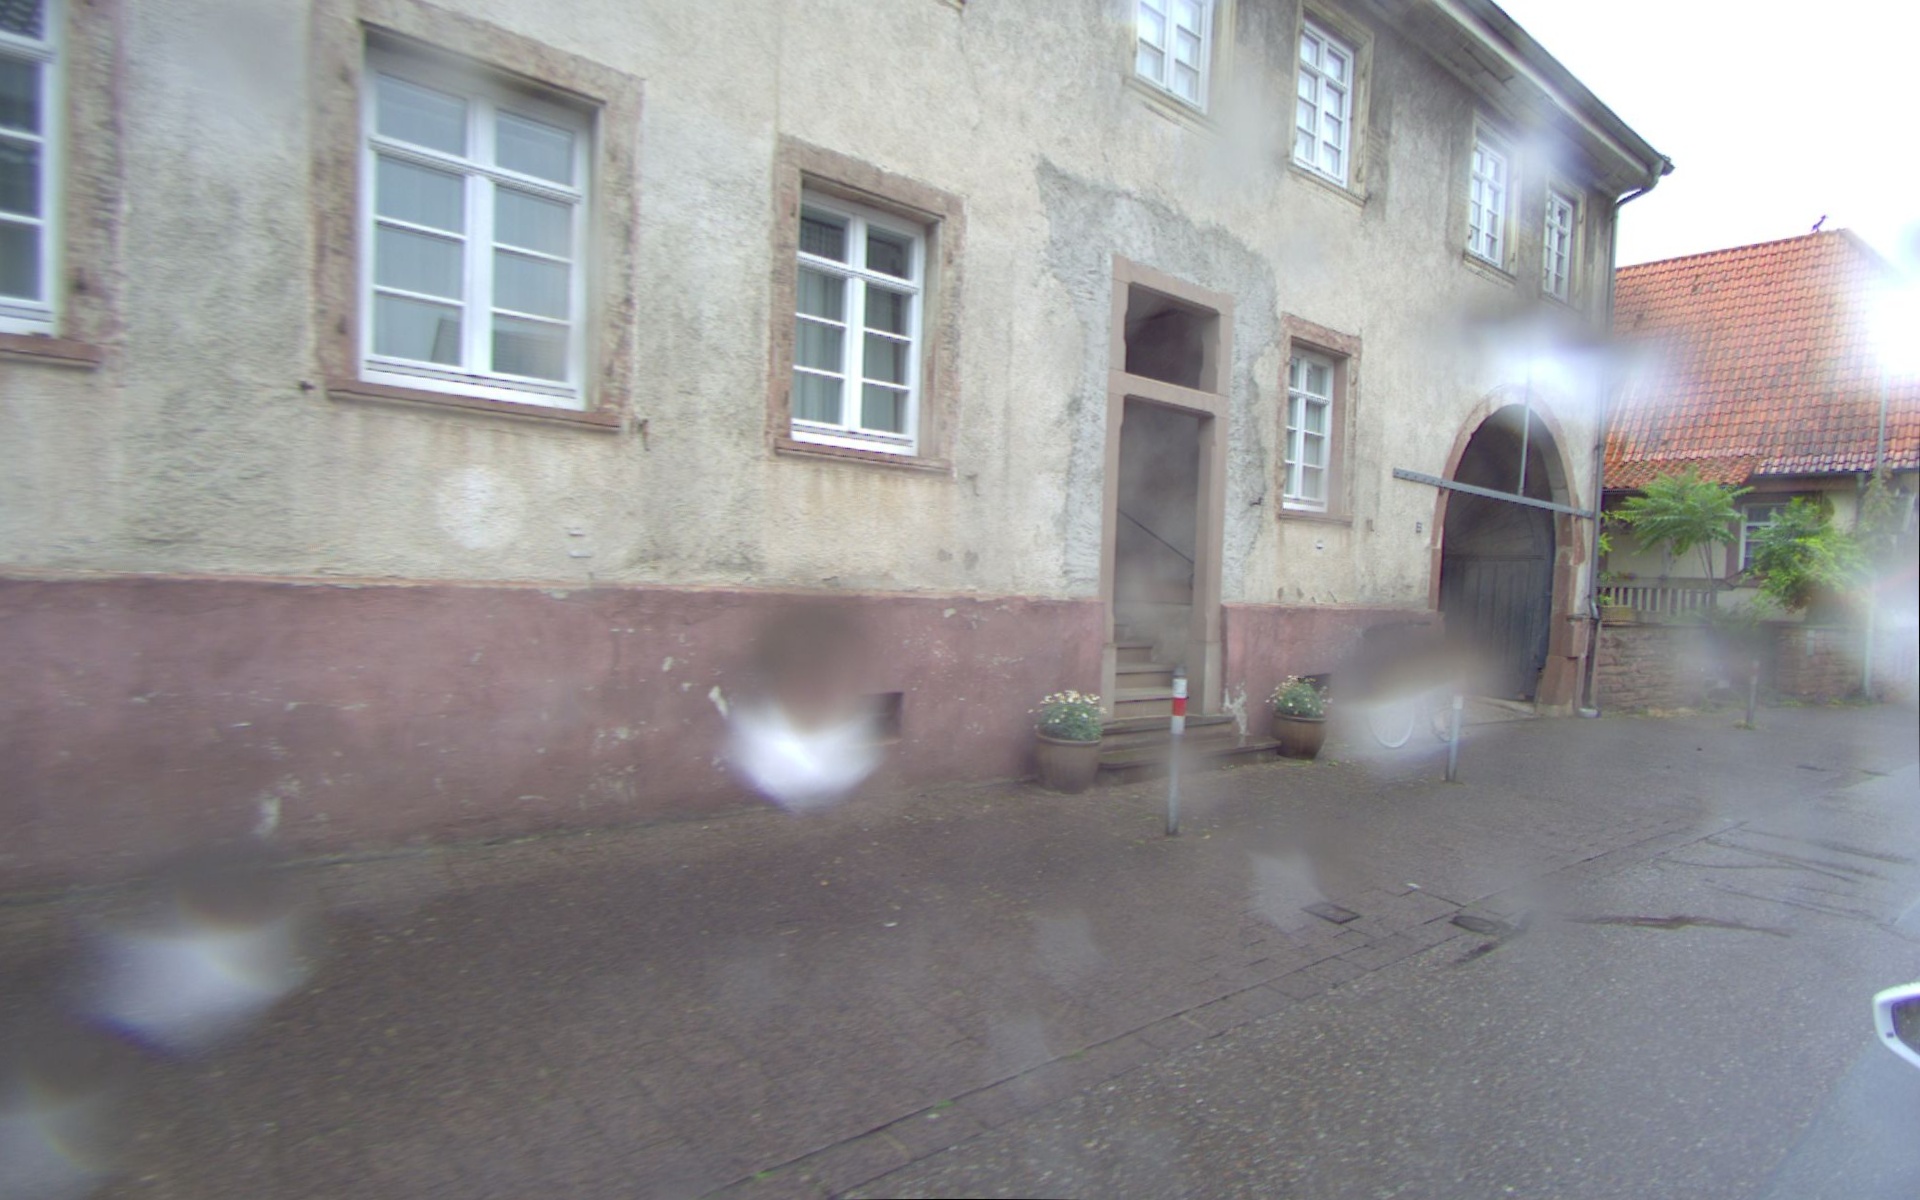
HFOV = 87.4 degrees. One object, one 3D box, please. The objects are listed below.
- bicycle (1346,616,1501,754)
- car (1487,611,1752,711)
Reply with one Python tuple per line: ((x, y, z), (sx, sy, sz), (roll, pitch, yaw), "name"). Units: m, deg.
((4.466, 0.790, 9.619), (1.819, 1.196, 0.479), (3, 2, -37), "bicycle")
((11.363, 0.980, 17.495), (1.579, 1.394, 3.502), (2, 1, -36), "car")
